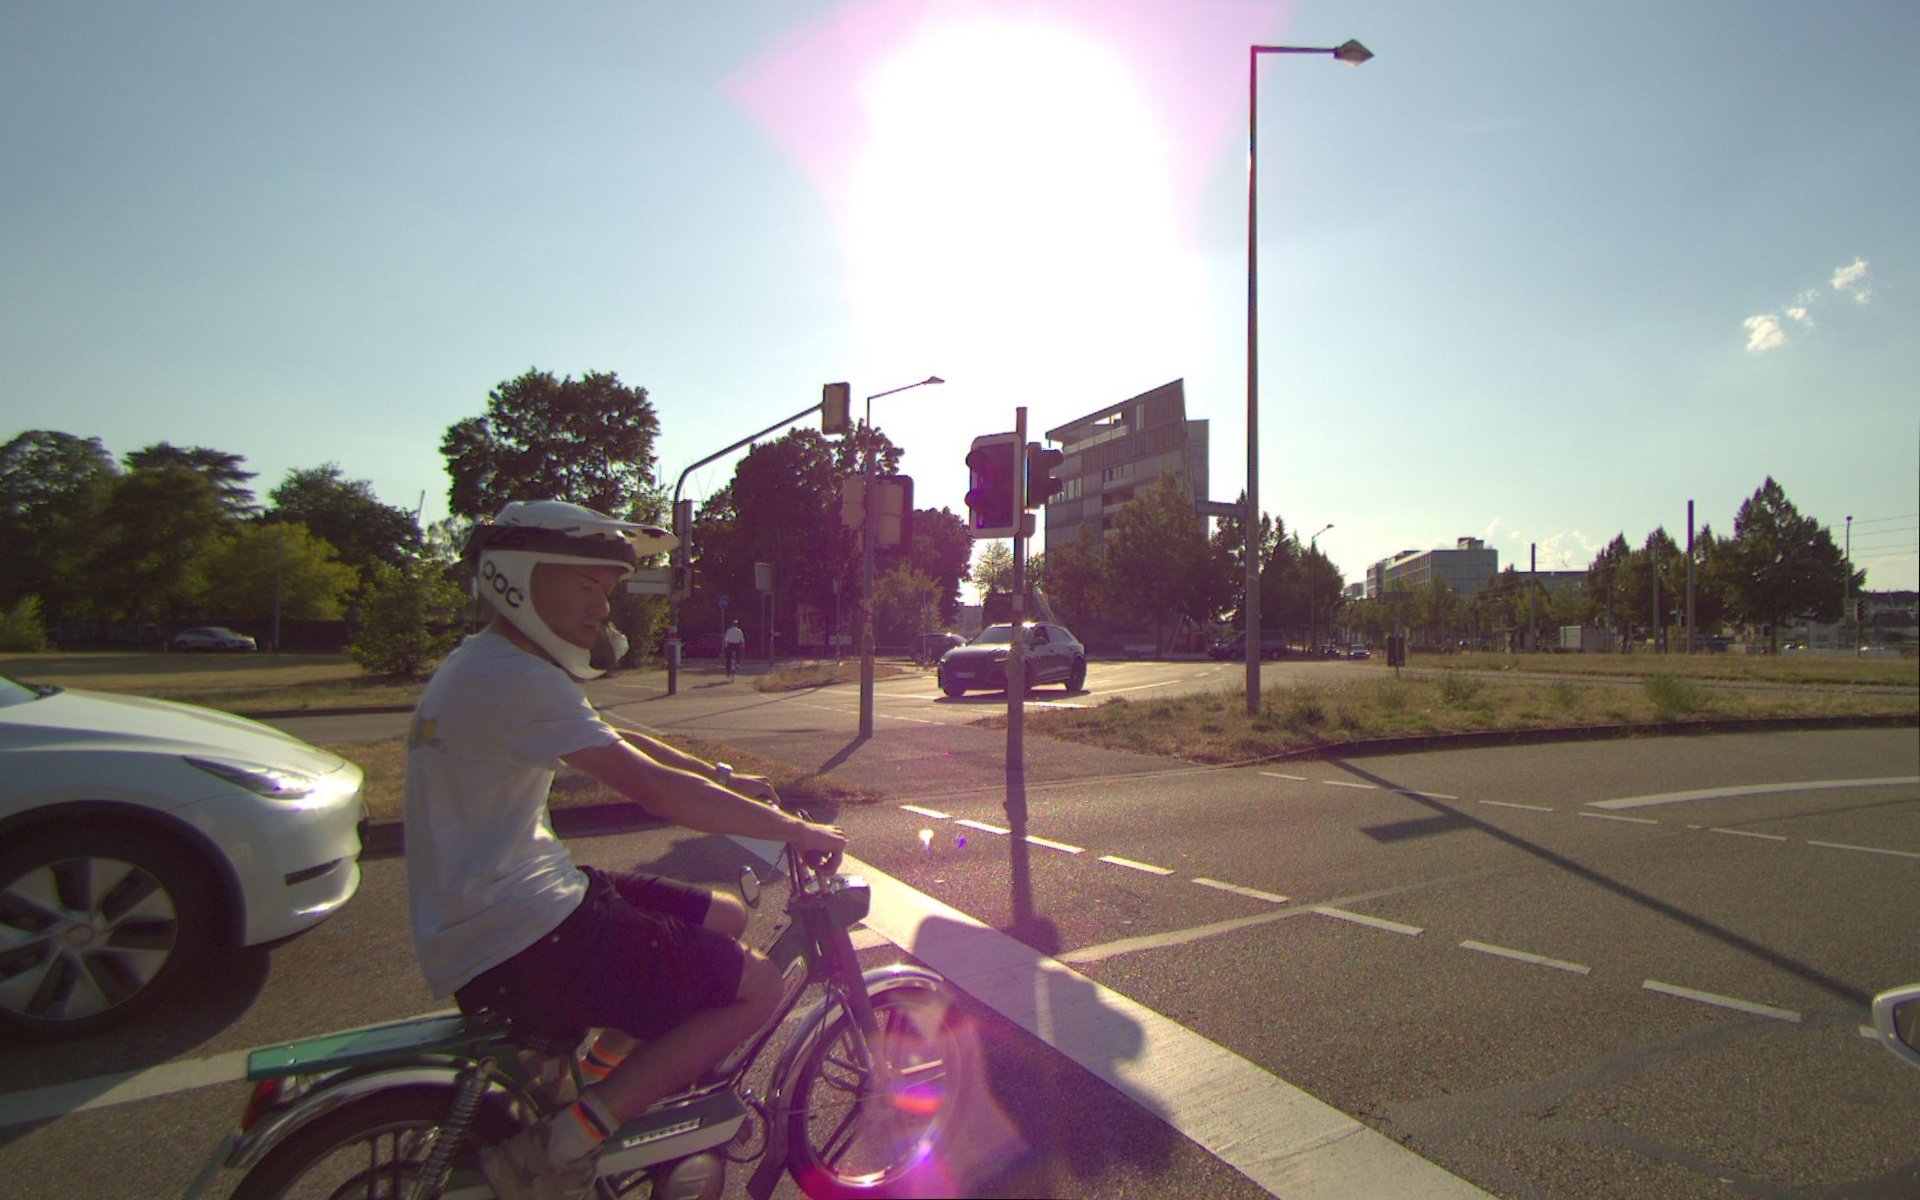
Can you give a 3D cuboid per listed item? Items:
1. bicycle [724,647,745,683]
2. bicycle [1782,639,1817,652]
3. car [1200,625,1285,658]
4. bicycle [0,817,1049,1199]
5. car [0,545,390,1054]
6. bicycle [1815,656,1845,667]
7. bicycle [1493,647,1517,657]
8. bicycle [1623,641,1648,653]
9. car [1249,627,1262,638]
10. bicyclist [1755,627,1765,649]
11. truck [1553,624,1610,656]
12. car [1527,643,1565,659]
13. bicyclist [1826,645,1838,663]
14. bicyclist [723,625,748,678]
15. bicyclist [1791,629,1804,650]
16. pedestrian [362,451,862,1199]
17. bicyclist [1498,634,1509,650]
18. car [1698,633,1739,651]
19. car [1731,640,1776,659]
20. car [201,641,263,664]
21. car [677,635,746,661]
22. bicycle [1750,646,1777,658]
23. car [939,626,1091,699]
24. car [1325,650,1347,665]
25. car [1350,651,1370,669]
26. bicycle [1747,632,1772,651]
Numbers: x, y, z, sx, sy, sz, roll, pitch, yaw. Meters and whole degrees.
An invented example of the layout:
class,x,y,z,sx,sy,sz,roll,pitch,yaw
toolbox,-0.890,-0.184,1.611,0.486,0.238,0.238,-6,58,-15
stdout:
class,x,y,z,sx,sy,sz,roll,pitch,yaw
bicycle,-6.822,1.945,30.438,0.360,1.046,1.439,0,-2,-3
bicycle,63.113,3.393,75.519,0.426,0.930,1.975,1,-2,-34
car,17.645,2.587,62.786,4.737,2.040,1.995,1,-2,-13
bicycle,-0.705,1.000,2.011,1.834,0.887,0.475,1,-2,-31
car,-4.556,0.607,3.198,4.630,1.620,1.724,2,-1,-35
bicycle,66.055,4.651,76.310,1.696,0.754,0.478,-1,-2,40
bicycle,45.508,4.332,83.932,1.687,0.754,0.481,0,-2,18
bicycle,53.804,3.741,80.001,1.592,0.871,0.543,-1,-2,35
car,47.073,5.112,159.942,1.753,1.576,4.002,2,0,14
bicyclist,62.381,2.950,78.319,0.599,1.694,0.476,0,-2,36
truck,66.235,4.201,107.227,3.074,3.273,7.178,0,-2,14
car,48.117,4.149,82.503,2.625,1.278,1.113,-1,-2,26
bicyclist,66.192,4.076,76.220,0.644,1.343,0.516,-1,-2,40
bicyclist,-6.799,1.550,30.446,0.629,1.576,0.630,0,-1,-4
bicyclist,63.051,2.985,75.622,0.414,1.531,0.618,1,-2,-35
pedestrian,-0.724,0.551,2.069,0.844,1.539,0.653,1,-2,-30
bicyclist,45.445,3.526,83.982,0.641,1.343,0.519,0,-1,17
car,89.894,4.956,119.101,1.960,2.040,4.002,0,-2,5
car,87.616,5.442,110.952,1.960,2.040,4.002,0,-2,5
car,-42.023,3.014,57.978,2.747,1.309,1.338,0,-2,9
car,-14.465,2.776,58.552,3.554,1.457,1.583,0,-2,5
bicycle,63.122,4.075,78.929,1.592,0.871,0.543,-1,-2,35
car,1.418,1.411,23.557,1.624,1.532,4.635,-2,-3,30
car,40.806,6.201,109.084,1.960,1.495,4.002,0,-2,17
car,36.584,5.457,91.915,1.455,1.495,3.301,0,-2,17
bicycle,62.338,3.210,78.315,1.519,1.493,0.478,-1,-2,36
